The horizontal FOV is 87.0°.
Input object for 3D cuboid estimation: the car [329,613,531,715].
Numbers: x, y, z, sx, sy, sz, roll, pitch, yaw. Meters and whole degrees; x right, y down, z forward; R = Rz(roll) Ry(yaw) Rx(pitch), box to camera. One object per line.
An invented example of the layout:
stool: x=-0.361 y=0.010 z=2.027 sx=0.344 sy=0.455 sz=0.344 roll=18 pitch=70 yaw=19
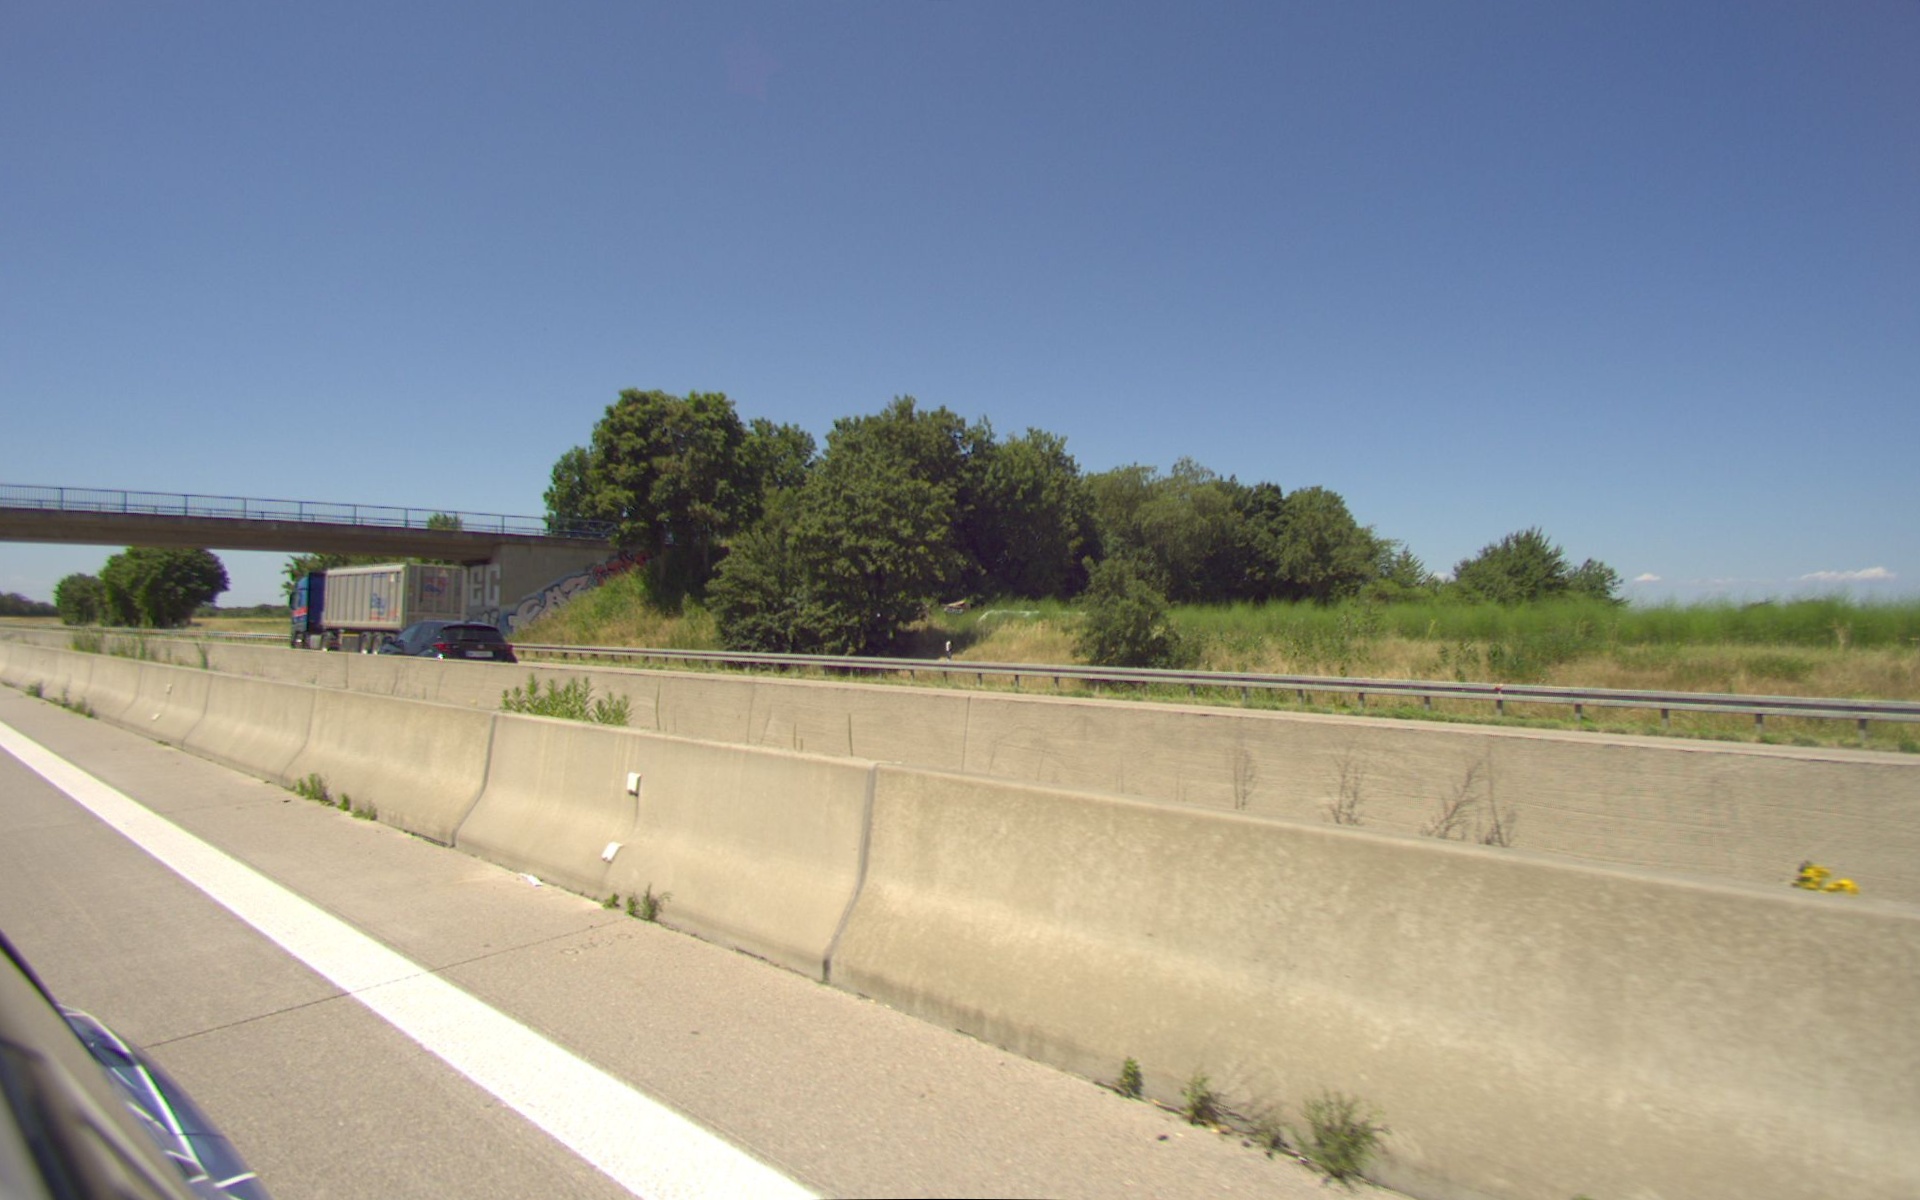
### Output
car: x=-11.340 y=1.236 z=21.458 sx=5.464 sy=1.876 sz=1.973 roll=-1 pitch=0 yaw=41

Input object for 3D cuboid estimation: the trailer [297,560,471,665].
trailer: x=-25.803 y=0.626 z=44.959 sx=11.600 sy=4.121 sz=2.950 roll=-1 pitch=-4 yaw=41

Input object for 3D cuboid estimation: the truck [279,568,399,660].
truck: x=-29.844 y=0.721 z=48.549 sx=6.462 sy=4.121 sz=2.950 roll=-1 pitch=-4 yaw=41
